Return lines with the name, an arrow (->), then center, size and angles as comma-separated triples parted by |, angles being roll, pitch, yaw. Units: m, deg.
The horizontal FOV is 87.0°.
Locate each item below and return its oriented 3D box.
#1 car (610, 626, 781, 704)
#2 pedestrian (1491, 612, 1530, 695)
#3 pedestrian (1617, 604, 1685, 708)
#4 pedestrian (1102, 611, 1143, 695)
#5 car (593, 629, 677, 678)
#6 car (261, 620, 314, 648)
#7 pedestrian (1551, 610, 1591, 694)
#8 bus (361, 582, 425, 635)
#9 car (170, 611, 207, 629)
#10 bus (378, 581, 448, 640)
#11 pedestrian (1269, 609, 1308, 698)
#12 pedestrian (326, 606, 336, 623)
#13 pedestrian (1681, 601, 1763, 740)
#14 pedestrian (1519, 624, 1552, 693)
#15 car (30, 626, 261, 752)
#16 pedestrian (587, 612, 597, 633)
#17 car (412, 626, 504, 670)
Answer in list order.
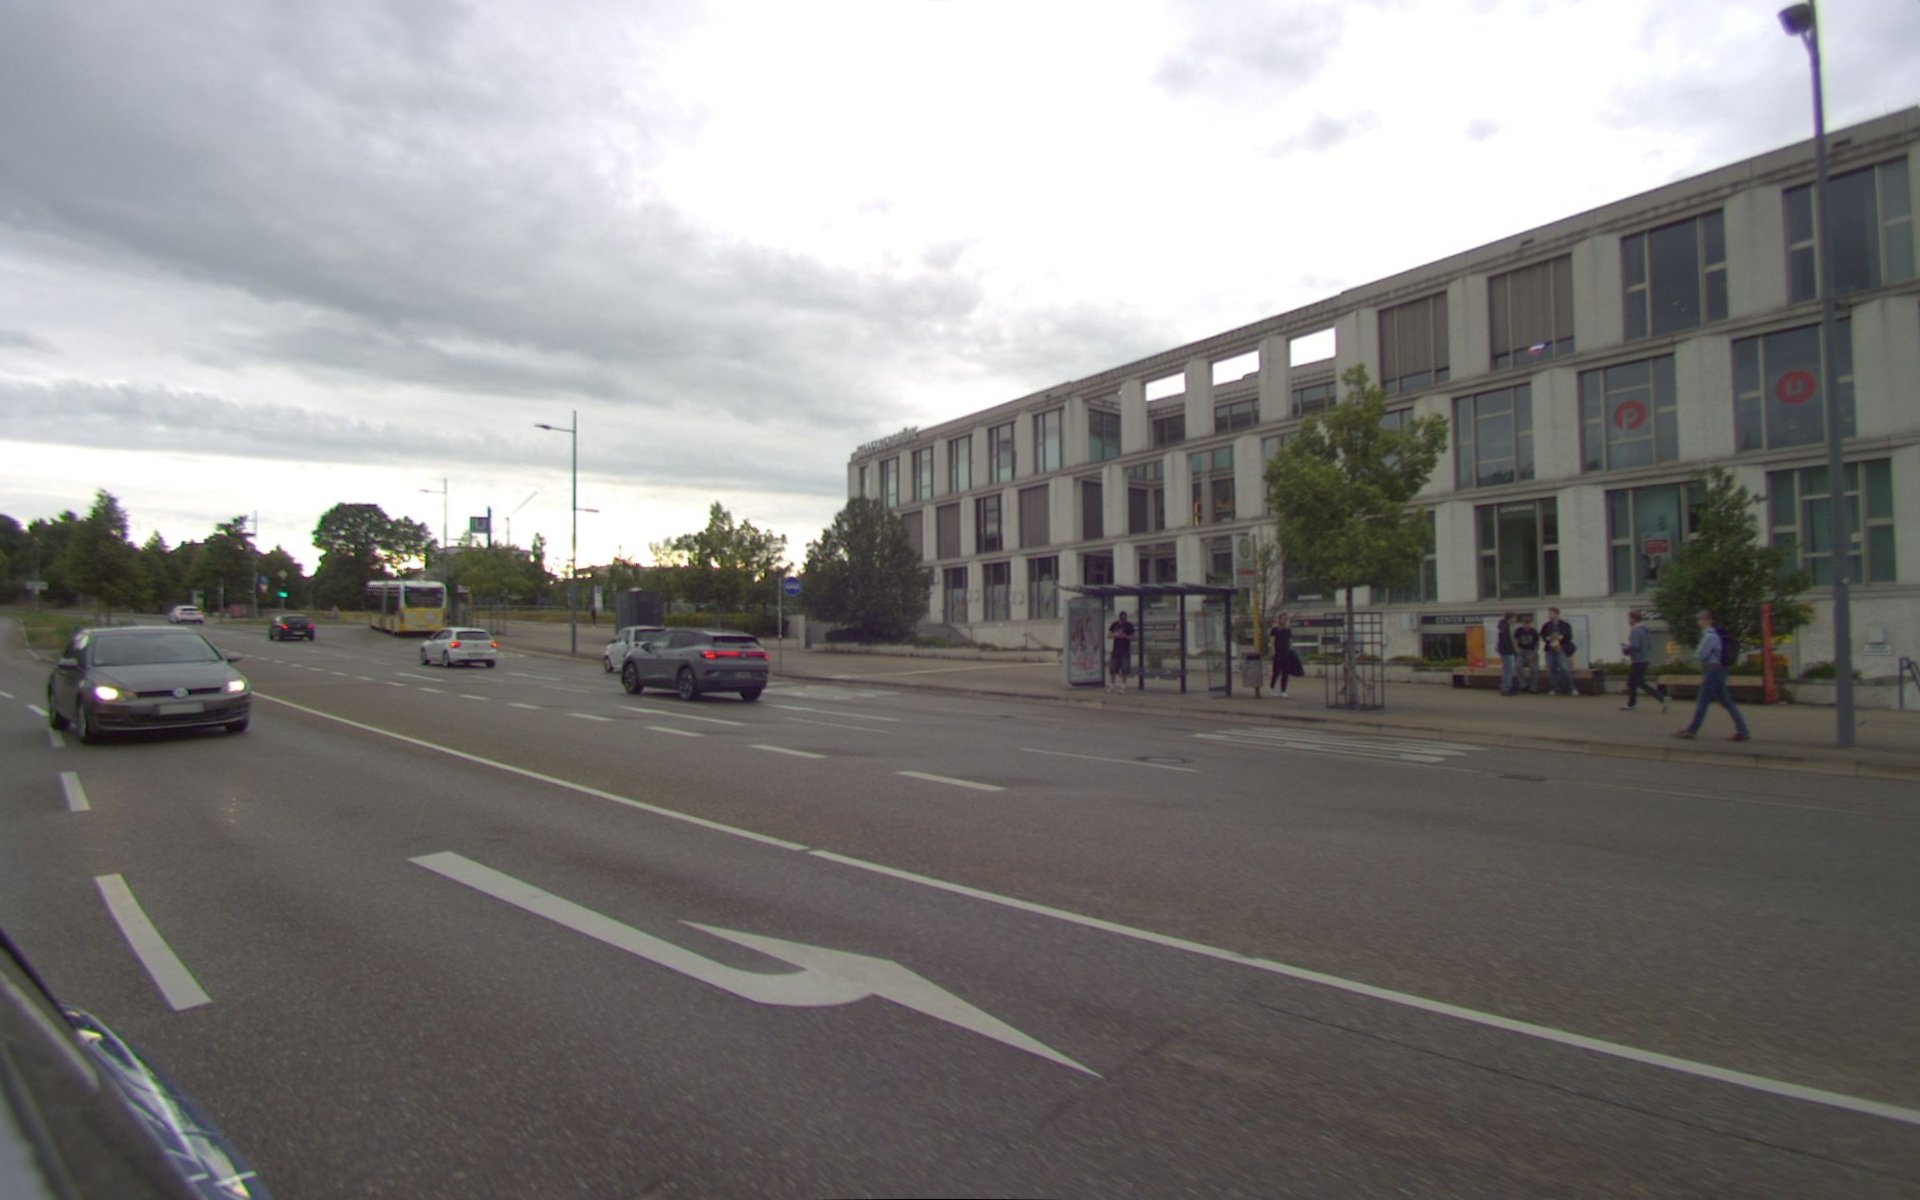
car -> -6.222, 1.457, 23.512 | 1.810, 1.584, 4.598 | 5, -4, -43
pedestrian -> 11.769, 1.134, 21.635 | 0.518, 1.738, 0.567 | 1, -2, -41
pedestrian -> 12.254, 0.975, 17.954 | 0.591, 1.775, 0.858 | 1, -2, -41
pedestrian -> 3.677, 1.179, 22.894 | 0.501, 1.856, 0.756 | 1, -2, -44
car -> -11.045, 1.783, 34.333 | 1.594, 1.519, 2.975 | 0, 0, -43
car -> -38.205, 1.904, 57.466 | 1.824, 1.473, 3.871 | 3, -2, -43
pedestrian -> 12.845, 1.081, 21.283 | 0.421, 1.738, 0.621 | 1, -2, -43
bus -> -39.985, 0.517, 71.161 | 2.784, 3.498, 9.998 | -1, 1, -36
car -> -63.406, 1.652, 83.140 | 1.970, 1.429, 4.517 | 1, -1, -43
bus -> -34.579, 0.591, 63.814 | 2.784, 3.498, 8.251 | -1, 1, -36
pedestrian -> 7.083, 1.141, 21.831 | 0.607, 1.870, 0.573 | -1, -2, 44
pedestrian -> -58.799, 1.351, 94.598 | 0.812, 1.606, 0.607 | -4, -3, 42
pedestrian -> 10.614, 0.956, 14.095 | 0.744, 1.856, 0.747 | 1, -2, -41
pedestrian -> 12.400, 1.254, 21.802 | 0.421, 1.462, 0.510 | 1, -2, -43
car -> -11.306, 1.102, 13.948 | 4.195, 1.440, 1.787 | -1, -1, 41
pedestrian -> -27.550, 1.682, 75.760 | 0.664, 1.541, 0.484 | -3, -3, 41
car -> -18.647, 1.761, 37.499 | 1.851, 1.441, 4.180 | 5, -4, -43
